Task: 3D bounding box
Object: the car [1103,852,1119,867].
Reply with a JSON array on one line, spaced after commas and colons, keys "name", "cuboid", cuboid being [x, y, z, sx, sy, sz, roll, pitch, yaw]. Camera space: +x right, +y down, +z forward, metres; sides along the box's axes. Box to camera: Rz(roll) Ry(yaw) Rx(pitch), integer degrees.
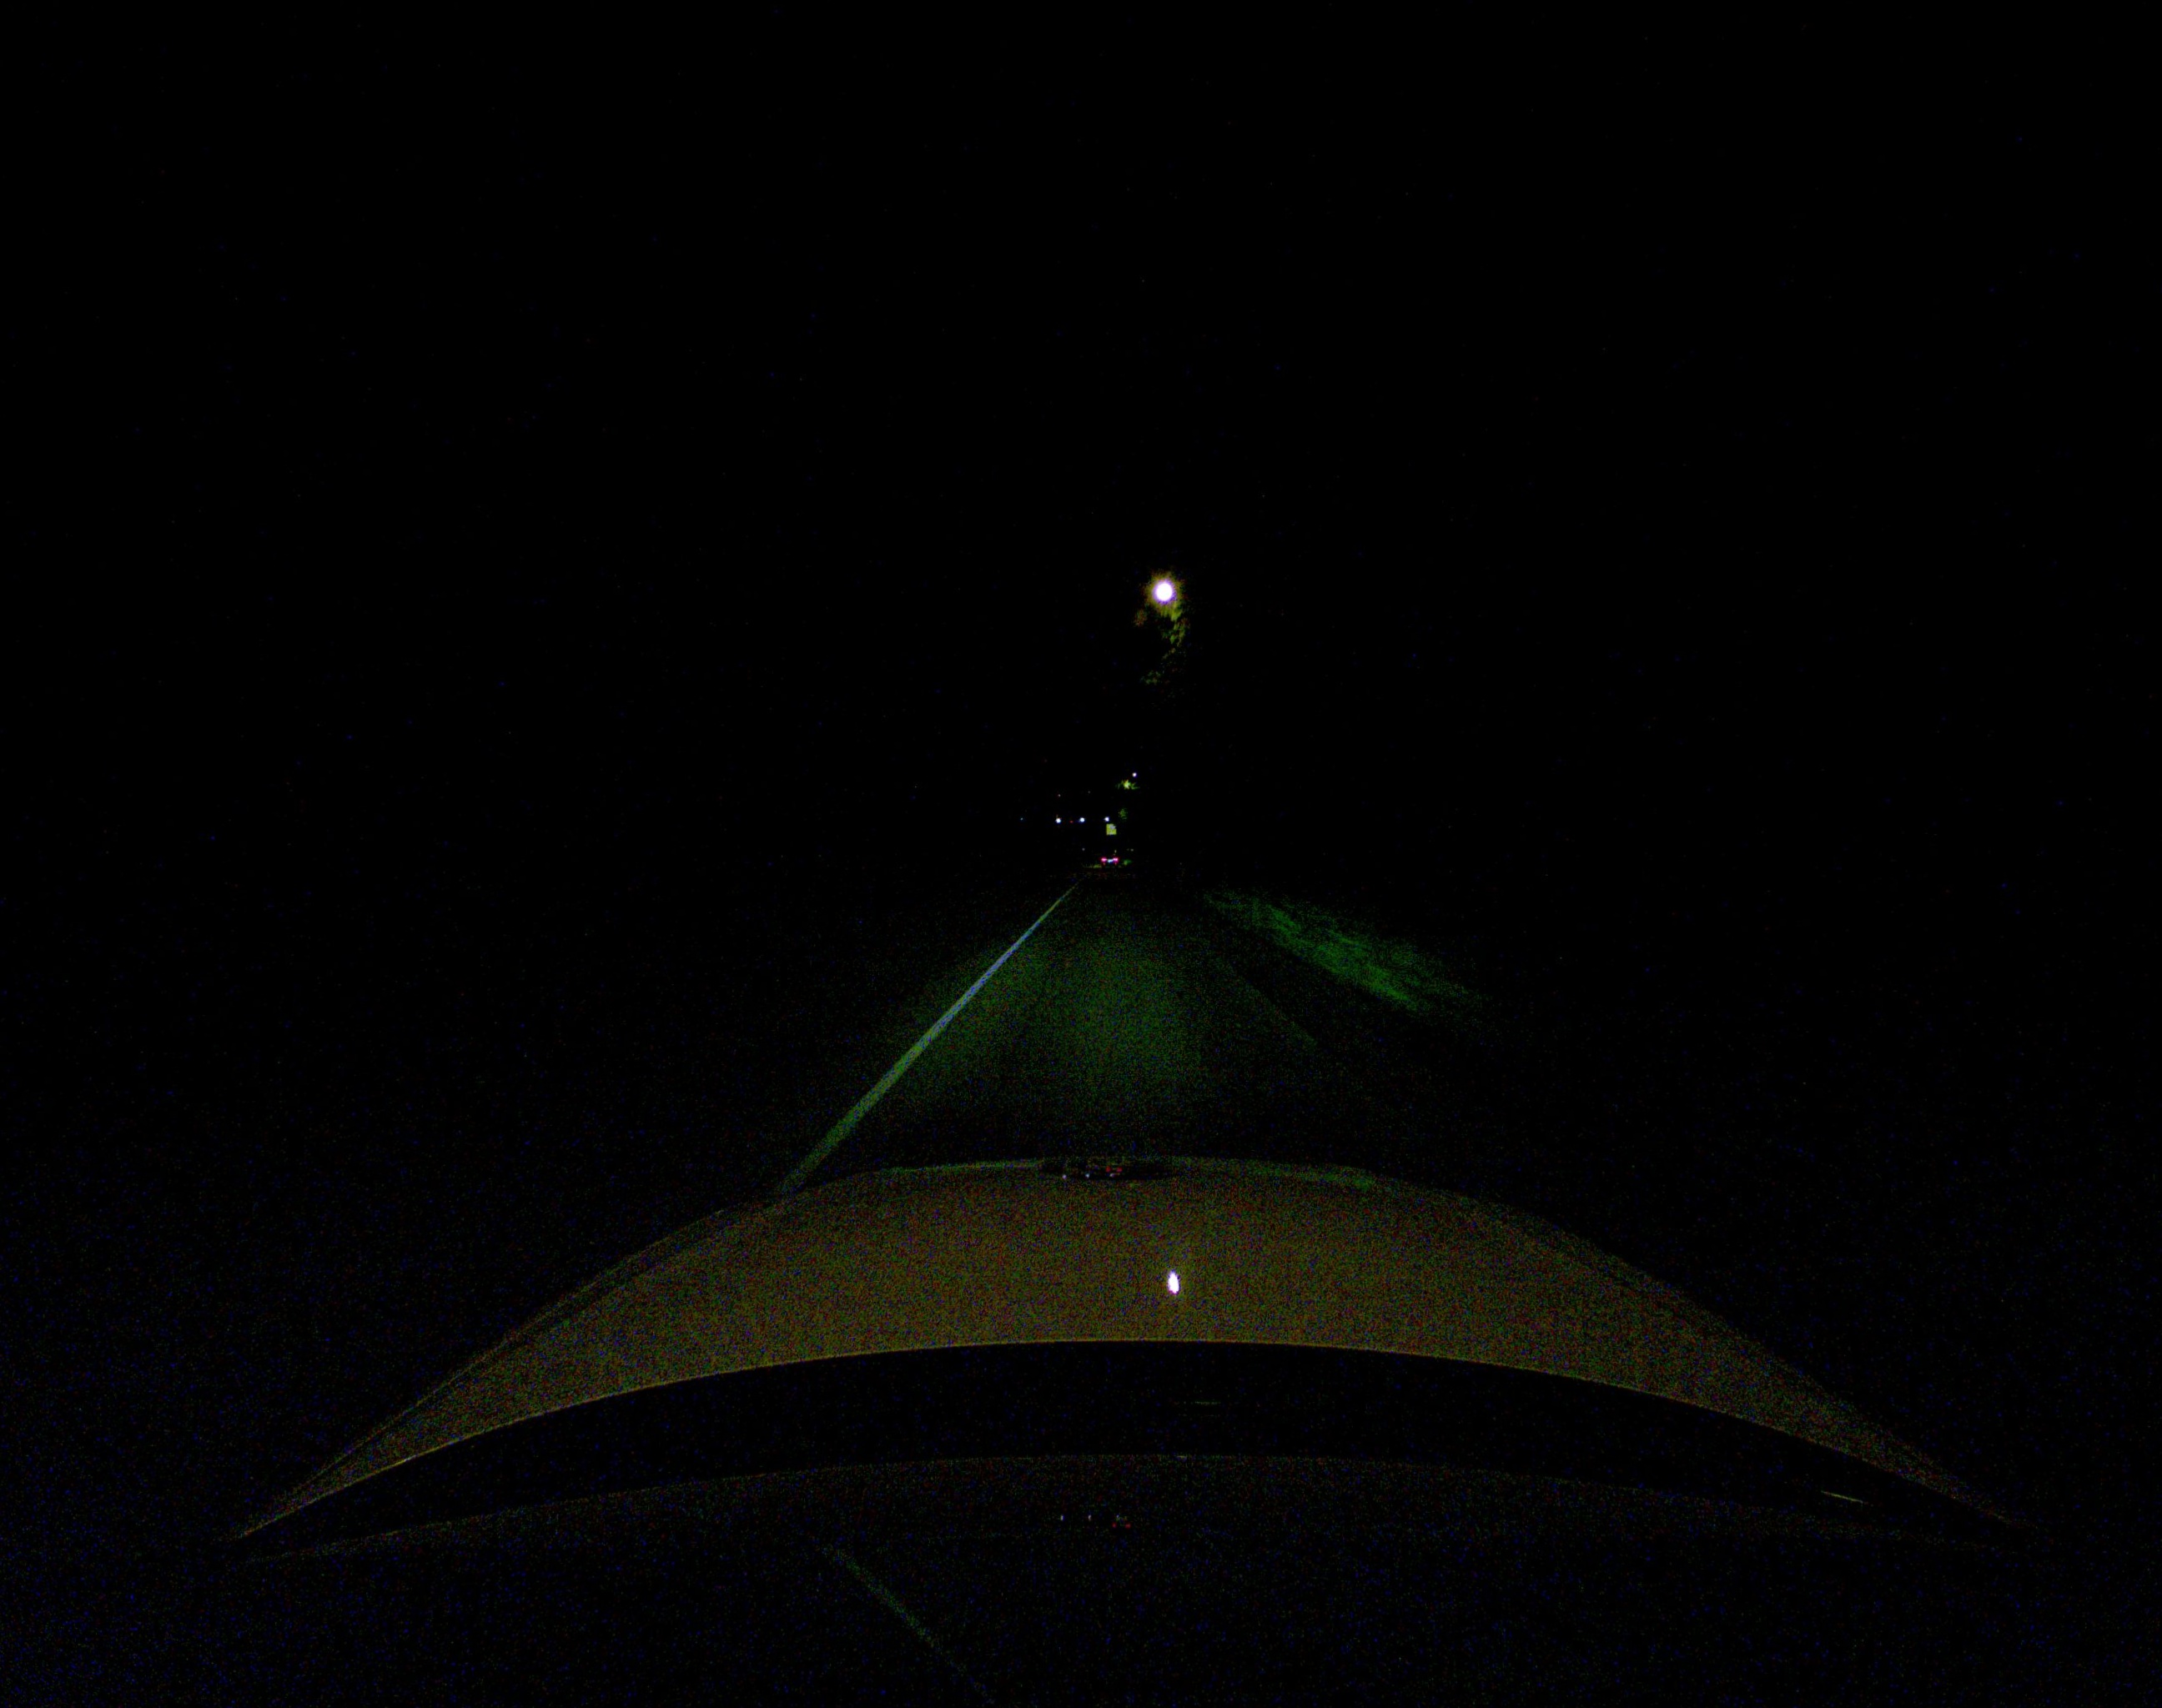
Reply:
[{"name": "car", "cuboid": [3.381, 0.588, 91.770, 1.756, 1.641, 3.726, -1, 1, 3]}]
